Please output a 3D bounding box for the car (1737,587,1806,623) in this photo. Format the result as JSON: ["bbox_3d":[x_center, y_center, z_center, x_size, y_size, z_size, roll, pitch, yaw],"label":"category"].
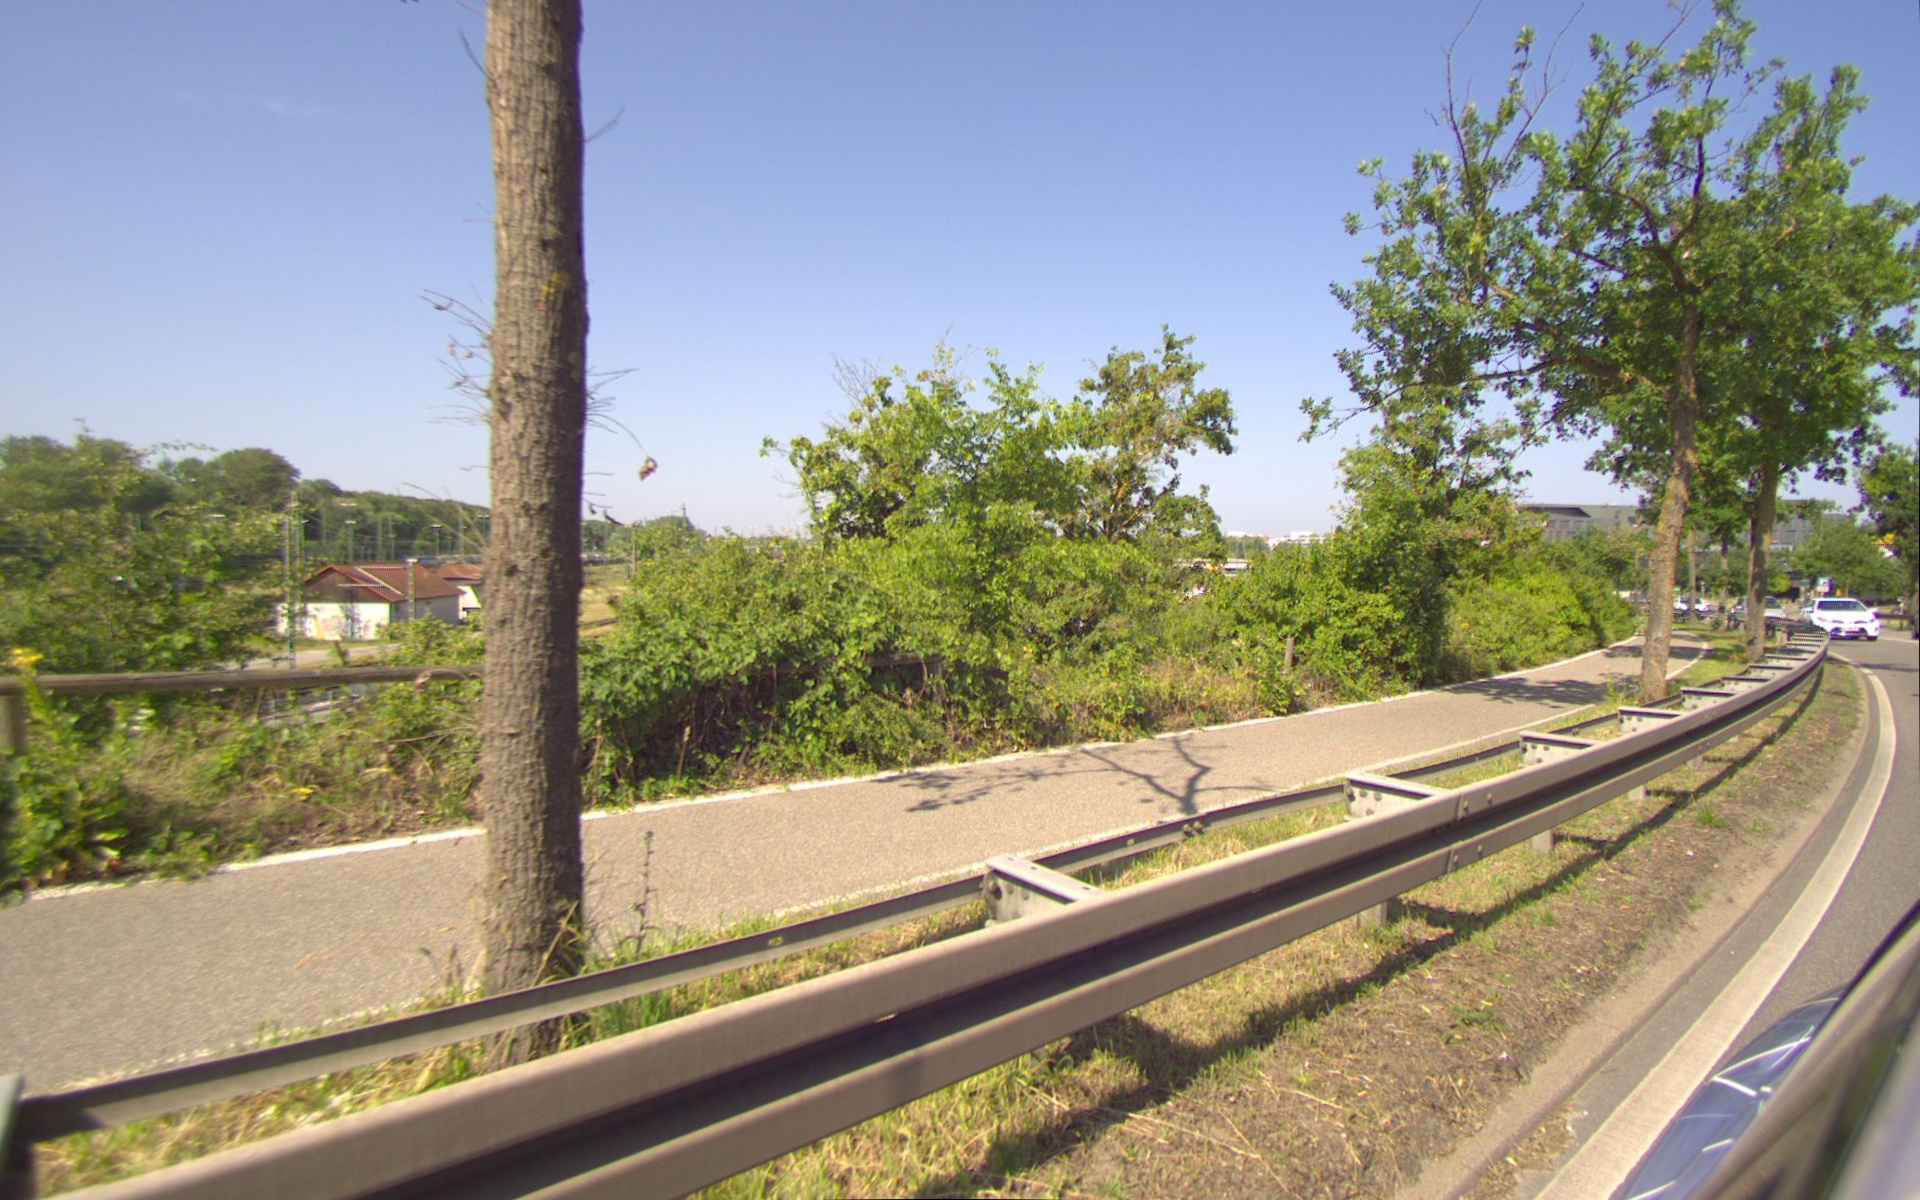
[{"bbox_3d":[38.575,0.198,48.201,1.983,1.605,3.958,0,1,30],"label":"car"}]

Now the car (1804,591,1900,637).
[{"bbox_3d":[31.287,0.451,35.630,1.833,1.507,4.105,1,0,32],"label":"car"}]

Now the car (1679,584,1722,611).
[{"bbox_3d":[52.203,-0.184,71.407,1.983,1.790,3.958,-1,0,30],"label":"car"}]
